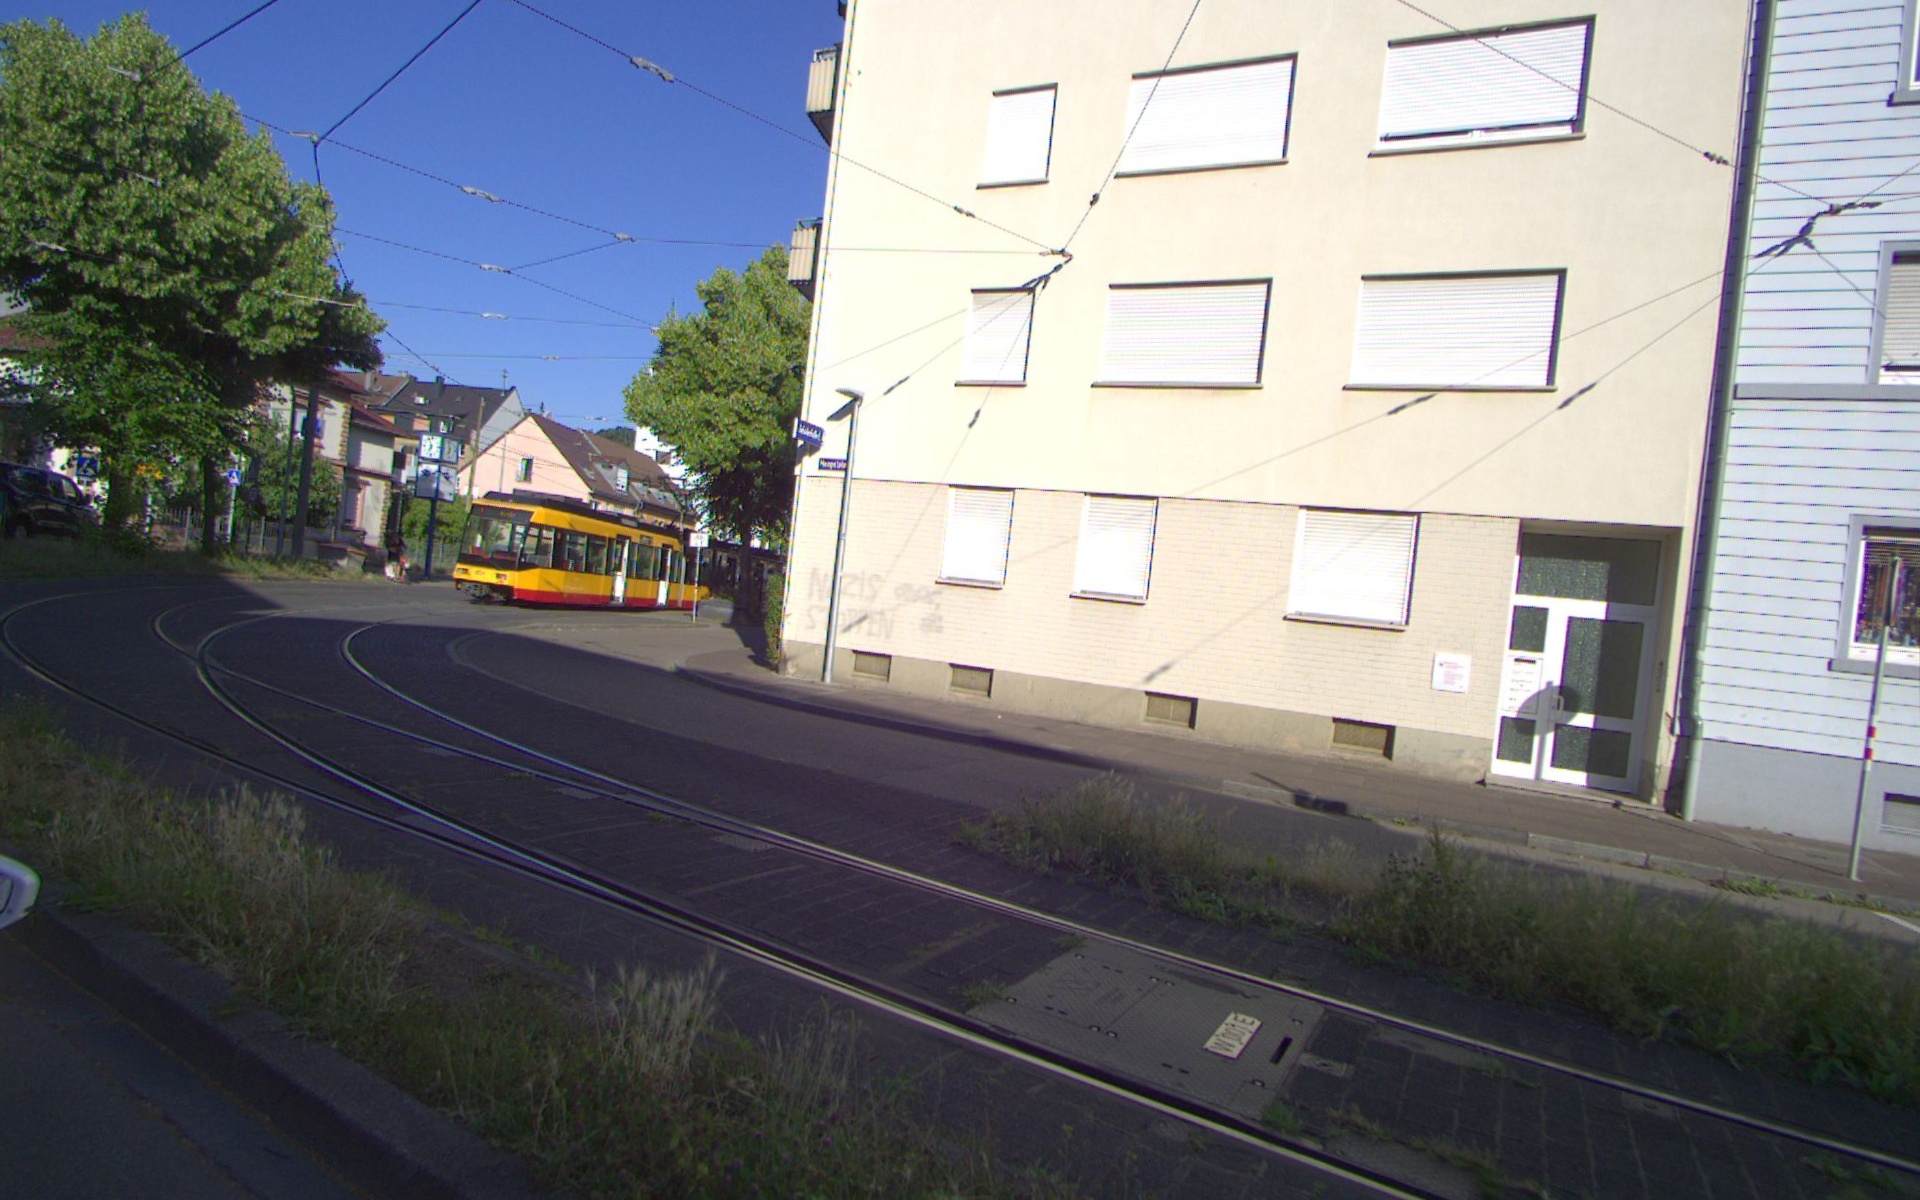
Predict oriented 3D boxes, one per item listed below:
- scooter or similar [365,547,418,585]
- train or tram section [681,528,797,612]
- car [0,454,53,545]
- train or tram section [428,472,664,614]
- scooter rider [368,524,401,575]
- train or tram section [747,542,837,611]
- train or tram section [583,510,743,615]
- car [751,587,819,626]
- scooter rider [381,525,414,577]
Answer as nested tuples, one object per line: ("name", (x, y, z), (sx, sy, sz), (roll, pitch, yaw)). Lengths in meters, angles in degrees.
("scooter or similar", (-19.858, -1.174, 35.143), (1.379, 1.151, 0.685), (7, 1, 8))
("train or tram section", (-11.321, -1.374, 52.775), (2.732, 3.599, 9.924), (7, -1, 5))
("car", (-23.544, -2.508, 24.052), (1.981, 2.038, 3.964), (8, -1, -33))
("train or tram section", (-13.034, -1.528, 33.032), (2.732, 3.599, 9.923), (7, -1, 4))
("scooter rider", (-20.084, -1.765, 35.128), (0.596, 1.694, 0.655), (6, 1, 9))
("train or tram section", (-10.235, -1.294, 62.620), (2.732, 3.599, 9.924), (7, -1, 5))
("train or tram section", (-12.291, -1.336, 42.918), (2.732, 3.599, 9.924), (7, -1, 5))
("car", (-7.761, 0.316, 44.882), (1.657, 1.458, 4.002), (7, -1, 8))
("scooter rider", (-19.602, -1.702, 35.072), (0.596, 1.694, 0.655), (6, 1, 9))
